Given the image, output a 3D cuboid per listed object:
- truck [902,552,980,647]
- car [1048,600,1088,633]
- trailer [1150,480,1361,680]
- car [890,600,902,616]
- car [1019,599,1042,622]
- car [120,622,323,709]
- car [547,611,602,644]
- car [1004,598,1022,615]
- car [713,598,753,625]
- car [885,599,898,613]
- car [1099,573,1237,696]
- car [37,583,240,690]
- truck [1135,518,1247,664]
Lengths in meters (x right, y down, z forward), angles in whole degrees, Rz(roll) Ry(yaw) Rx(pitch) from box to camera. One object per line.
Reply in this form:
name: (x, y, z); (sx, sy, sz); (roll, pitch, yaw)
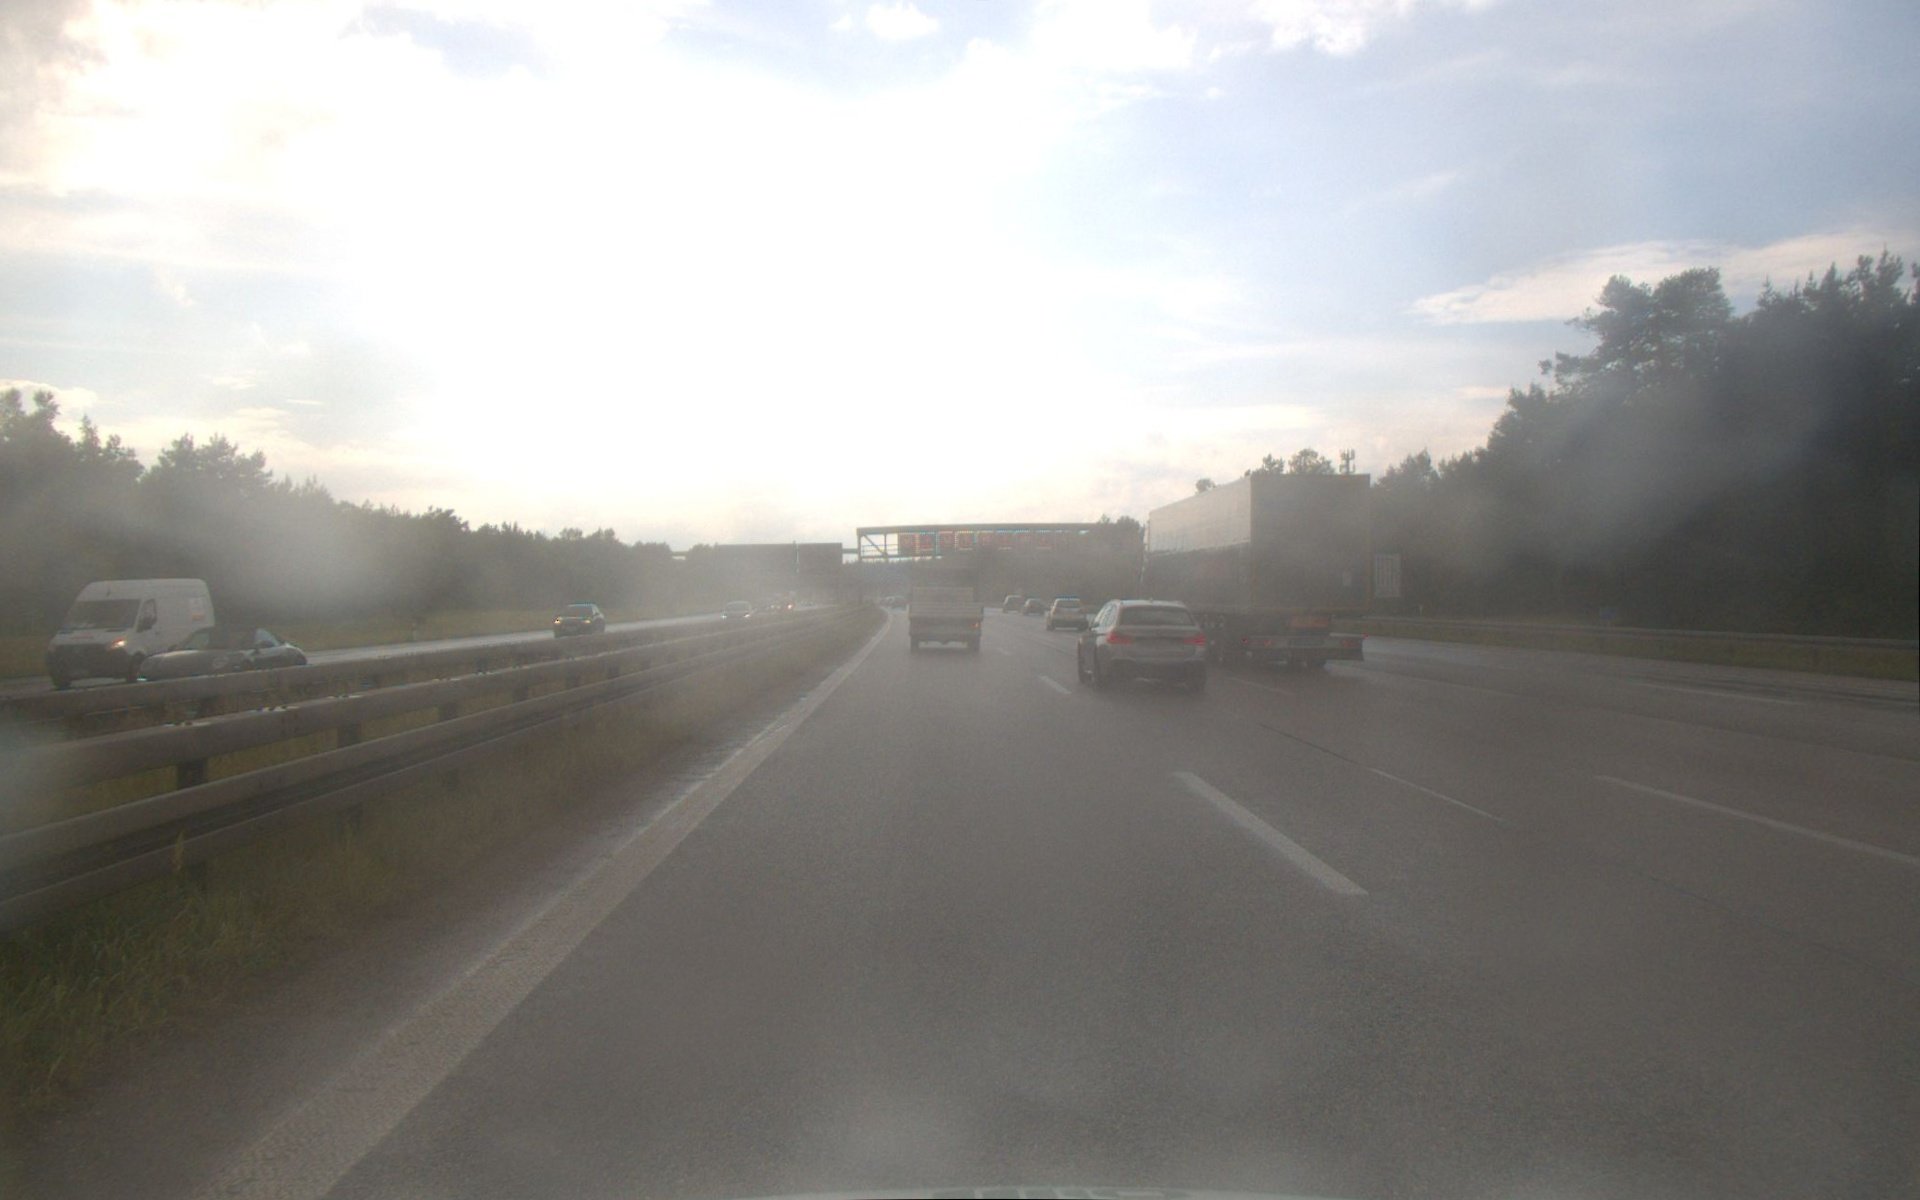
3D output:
truck: (-0.491, -0.025, 47.360); (2.093, 2.532, 5.313); (0, 0, 0)
car: (5.126, 0.780, 78.831); (1.793, 1.492, 4.001); (1, 0, 2)
trailer: (6.824, -0.411, 40.555); (2.277, 4.071, 13.405); (0, 0, -2)
car: (-8.203, 1.012, 211.921); (1.584, 2.049, 3.998); (1, 0, -3)
car: (6.496, 0.957, 152.301); (1.952, 2.049, 4.000); (2, 0, 1)
car: (-13.396, 1.140, 30.336); (1.663, 1.348, 4.666); (-2, 0, -1)
car: (-18.465, 1.293, 79.313); (1.837, 1.498, 3.998); (-1, 0, -3)
car: (5.589, 0.675, 174.967); (1.706, 1.718, 3.998); (0, 0, -2)
car: (-12.586, 0.631, 91.843); (1.837, 1.456, 3.998); (-1, 0, -3)
car: (-10.637, 0.944, 256.474); (1.758, 2.049, 3.999); (2, 0, -1)
car: (3.504, 0.533, 28.740); (2.034, 1.918, 5.013); (1, 0, 3)
car: (-21.115, 0.862, 42.914); (2.055, 2.555, 6.582); (0, 0, -1)
truck: (6.557, -0.247, 47.553); (2.248, 3.935, 5.389); (0, 0, -2)
